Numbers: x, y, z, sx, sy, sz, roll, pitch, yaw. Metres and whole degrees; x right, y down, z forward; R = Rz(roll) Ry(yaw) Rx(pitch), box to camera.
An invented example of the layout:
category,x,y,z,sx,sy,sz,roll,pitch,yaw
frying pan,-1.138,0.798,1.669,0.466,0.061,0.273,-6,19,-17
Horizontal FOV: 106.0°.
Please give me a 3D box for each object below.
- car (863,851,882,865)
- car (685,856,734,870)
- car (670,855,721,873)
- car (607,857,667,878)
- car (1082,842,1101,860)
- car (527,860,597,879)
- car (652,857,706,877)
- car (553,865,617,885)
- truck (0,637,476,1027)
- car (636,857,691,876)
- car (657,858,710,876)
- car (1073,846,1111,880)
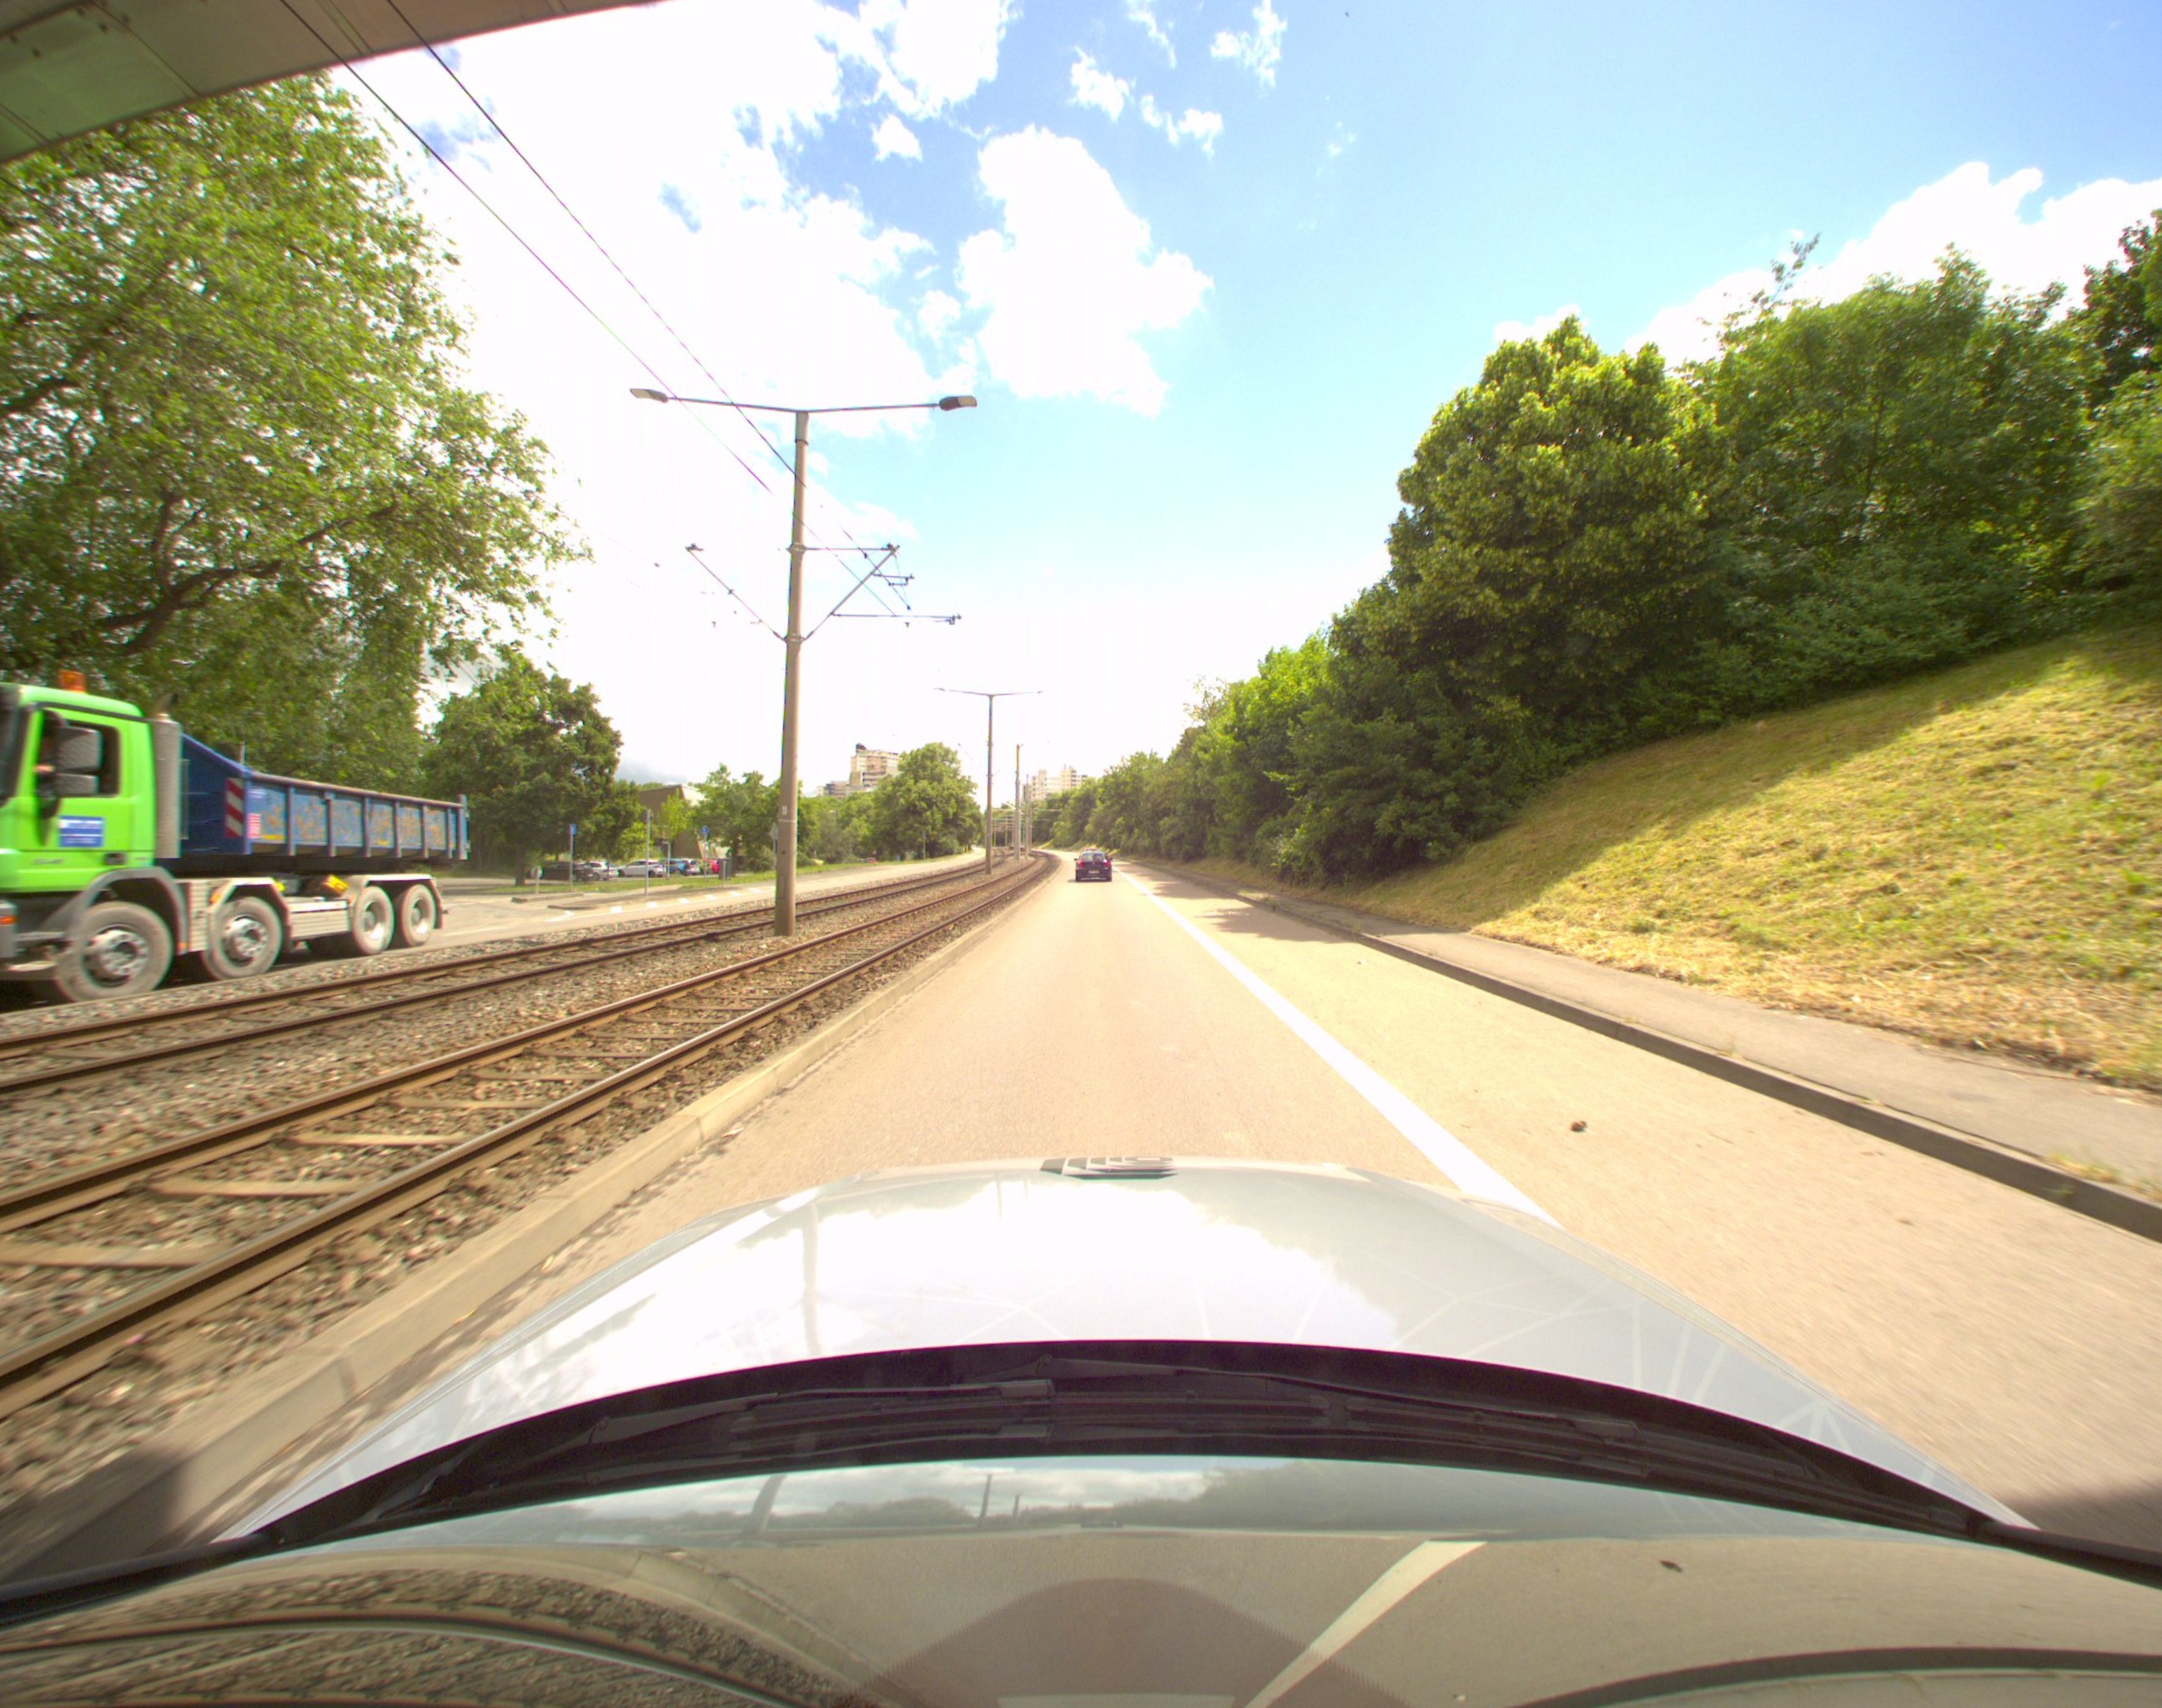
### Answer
category,x,y,z,sx,sy,sz,roll,pitch,yaw
car,-28.965,0.544,113.084,1.812,1.771,3.994,-1,1,-4
car,-37.452,0.920,82.161,4.064,1.252,1.998,2,1,4
car,-37.740,0.976,79.739,3.937,1.580,1.998,2,1,4
car,-37.219,1.127,68.358,3.909,1.580,1.840,1,1,-5
car,0.985,-0.238,73.334,1.618,1.443,3.423,2,-1,2
car,-37.367,1.110,58.687,3.945,1.276,1.780,1,-2,5
car,-36.953,1.186,74.905,3.937,1.580,1.996,2,1,4
car,-37.084,1.547,60.923,3.850,1.391,1.576,1,-2,5
truck,-11.760,-0.196,10.749,2.877,3.320,8.981,2,-1,-16
car,-37.290,1.117,72.823,3.937,1.580,1.871,2,1,3
car,-37.801,1.242,77.491,3.937,1.580,1.998,2,1,4
car,0.532,0.423,39.023,1.702,1.460,3.960,2,0,1
